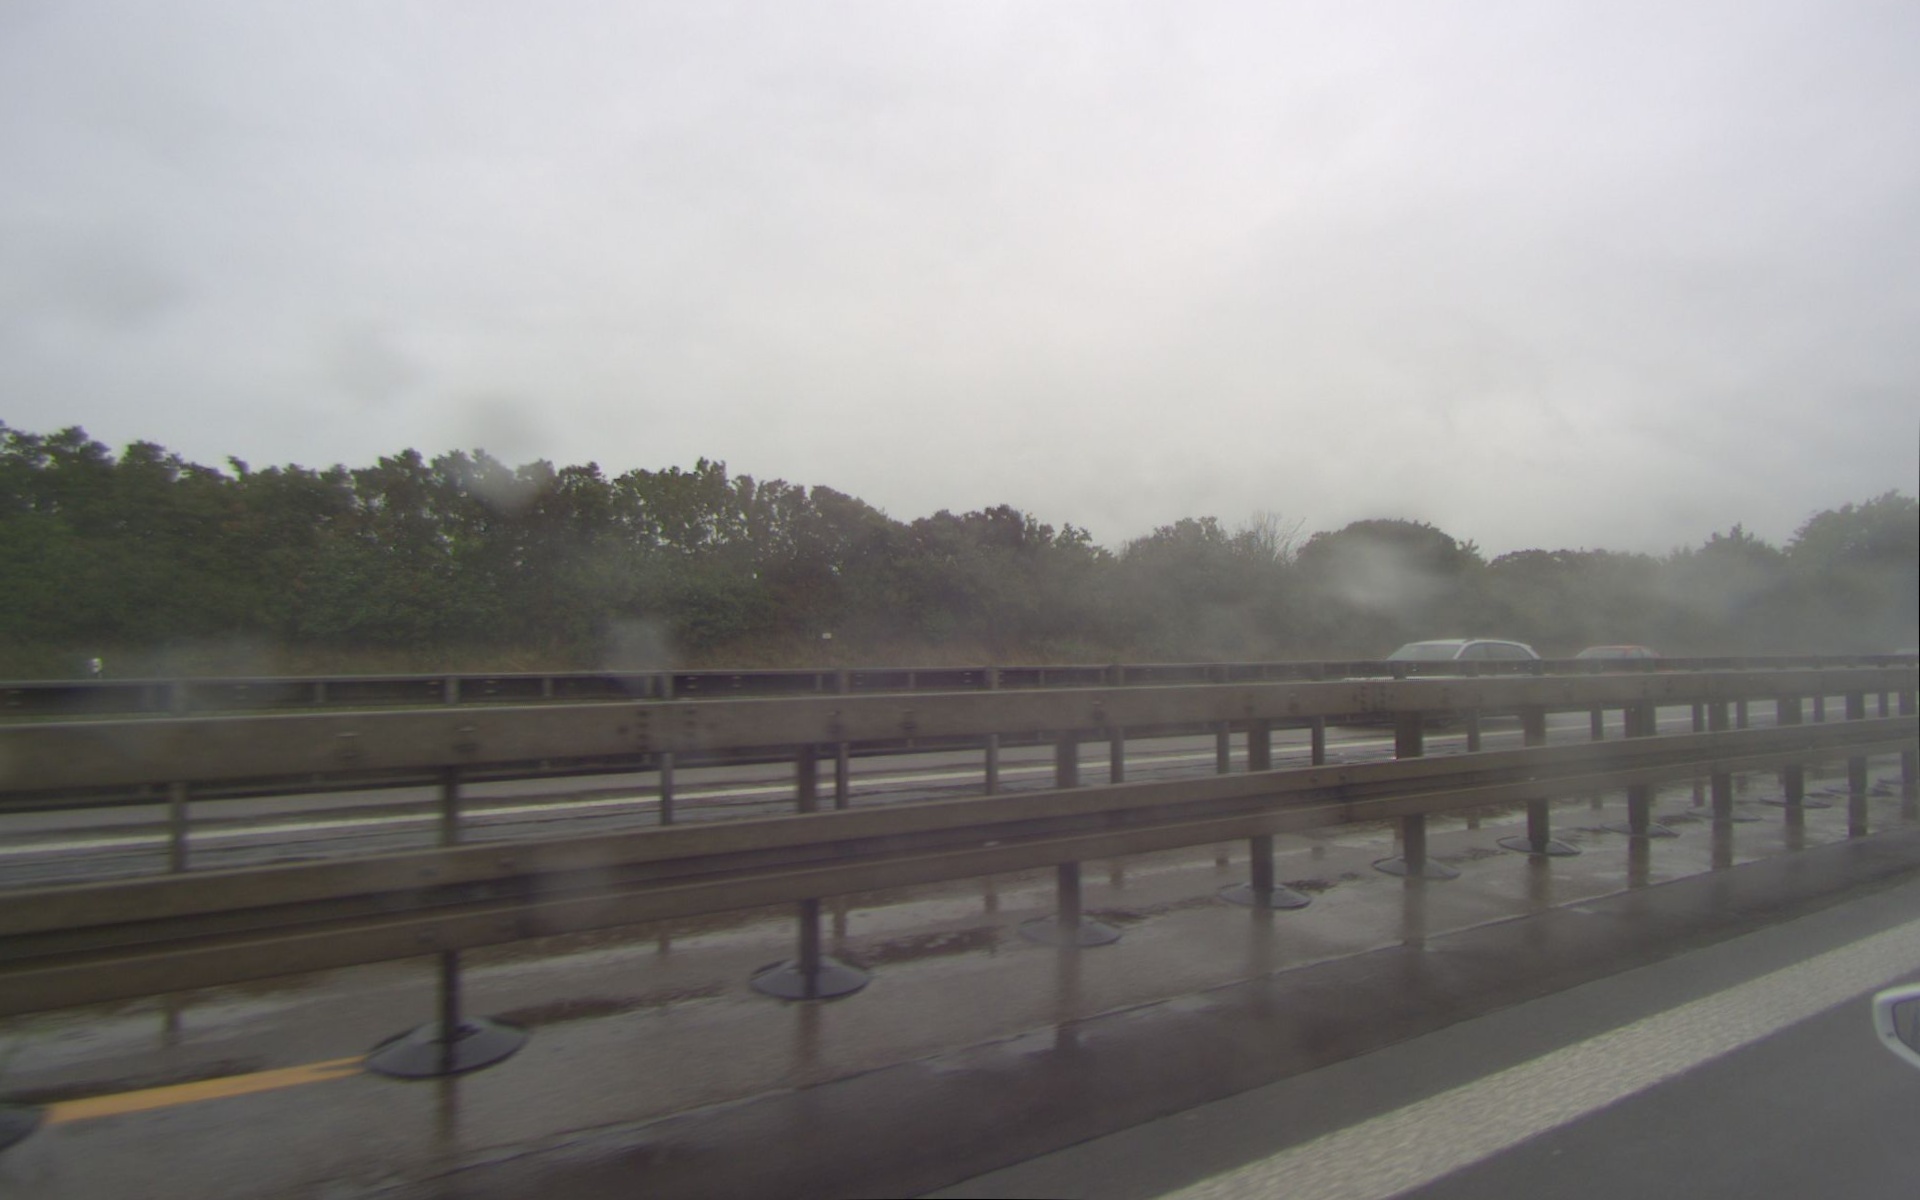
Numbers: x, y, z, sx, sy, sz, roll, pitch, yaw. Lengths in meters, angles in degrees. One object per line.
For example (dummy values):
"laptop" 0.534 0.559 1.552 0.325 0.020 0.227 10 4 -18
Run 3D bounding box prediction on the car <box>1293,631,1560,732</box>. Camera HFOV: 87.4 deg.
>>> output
"car" 8.177 1.317 17.512 4.593 1.453 1.983 1 0 -31
